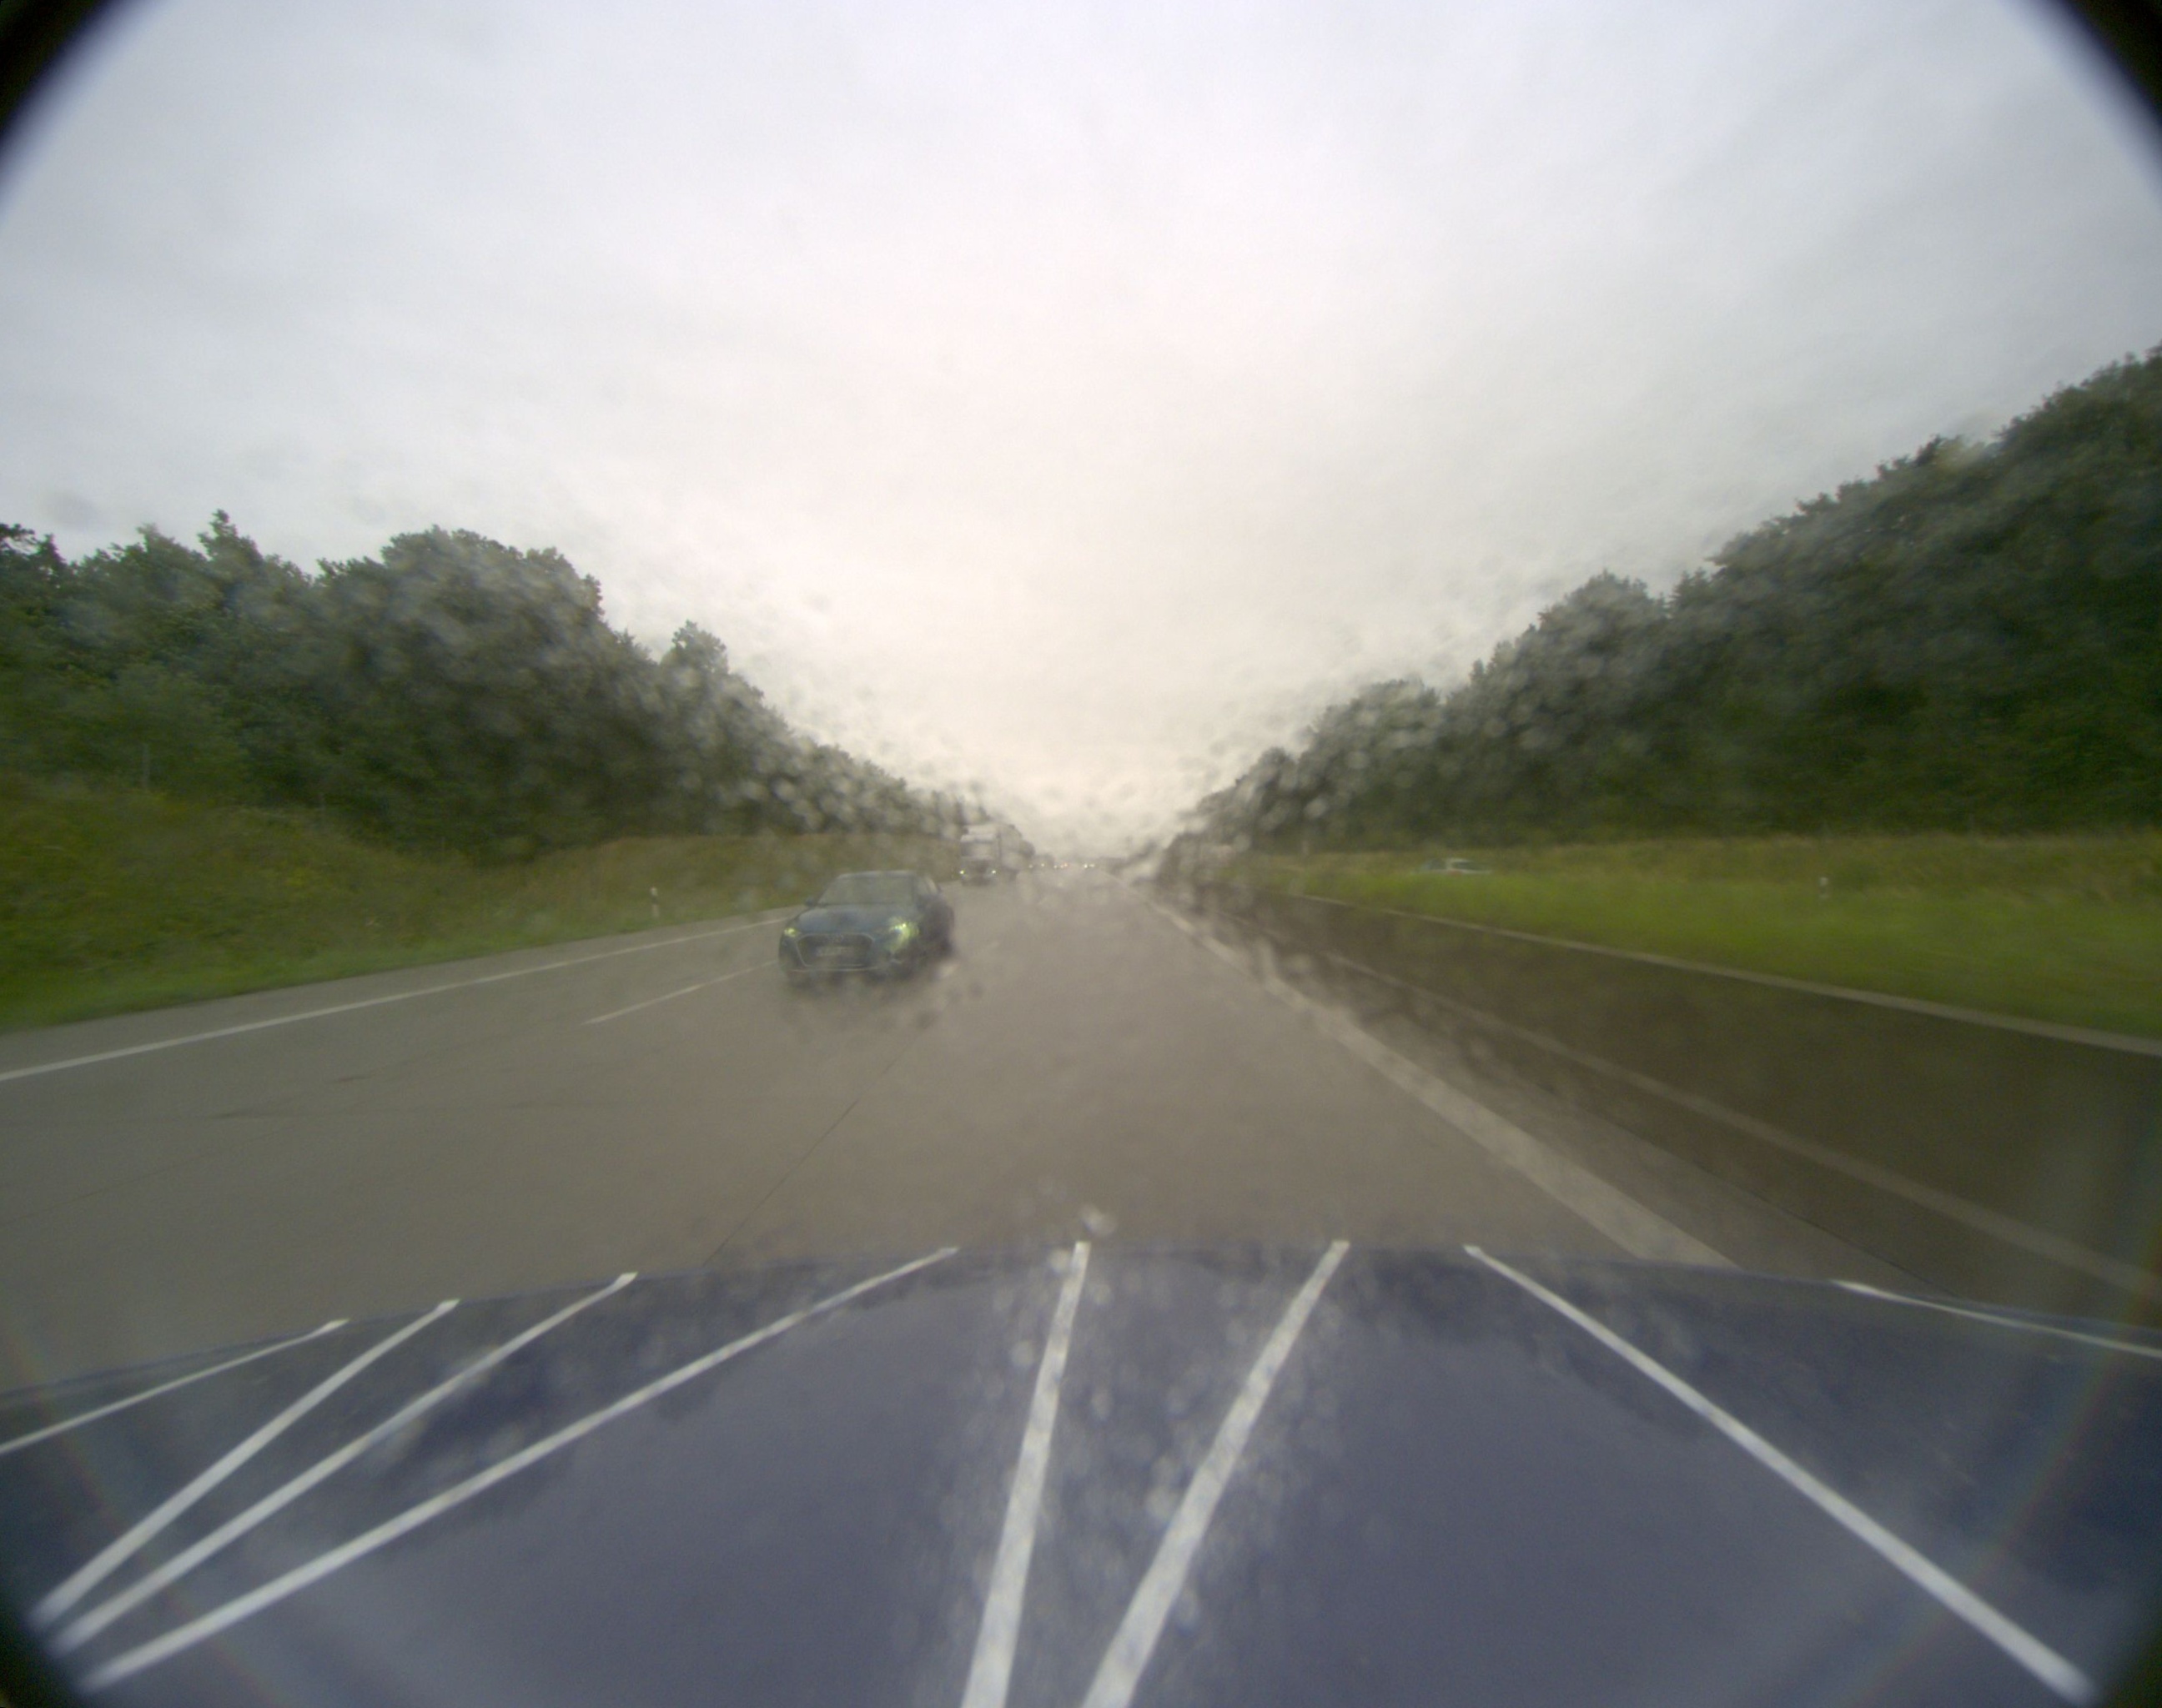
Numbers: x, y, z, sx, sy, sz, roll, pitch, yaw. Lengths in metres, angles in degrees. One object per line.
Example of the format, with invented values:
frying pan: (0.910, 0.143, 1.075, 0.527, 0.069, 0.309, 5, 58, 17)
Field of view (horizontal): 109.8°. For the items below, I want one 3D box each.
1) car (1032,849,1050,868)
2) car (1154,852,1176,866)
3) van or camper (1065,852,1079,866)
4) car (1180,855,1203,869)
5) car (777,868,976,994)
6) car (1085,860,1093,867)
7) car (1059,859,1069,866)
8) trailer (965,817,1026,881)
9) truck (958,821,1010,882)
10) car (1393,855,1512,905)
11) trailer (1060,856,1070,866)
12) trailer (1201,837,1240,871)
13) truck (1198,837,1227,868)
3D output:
car: (-5.960, 0.694, 112.899, 1.945, 2.642, 6.588, -3, -1, 2)
car: (9.629, 0.514, 87.123, 1.998, 1.534, 4.559, -1, 0, 0)
van or camper: (-1.742, 1.034, 152.791, 2.233, 2.537, 7.951, -4, 0, 2)
car: (12.946, 0.901, 89.290, 1.998, 1.534, 4.560, -1, 0, 0)
car: (-2.898, 1.012, 11.884, 1.733, 1.450, 4.672, -1, 0, 1)
car: (1.722, 1.955, 159.276, 1.733, 1.450, 4.672, -1, 0, 1)
car: (-4.198, 2.030, 186.488, 1.998, 1.575, 5.955, -3, -1, 2)
trailer: (-6.501, -0.291, 60.780, 2.713, 4.353, 15.206, -3, -1, 1)
truck: (-6.684, -0.152, 53.094, 2.643, 3.930, 5.687, -3, 0, 2)
car: (12.618, 0.809, 26.182, 1.816, 1.534, 4.639, -1, 0, 0)
trailer: (-4.034, 1.770, 192.472, 2.348, 2.444, 5.941, -1, 0, 2)
trailer: (17.106, -0.009, 93.694, 2.671, 3.948, 11.136, -1, 0, 0)
truck: (17.073, -0.147, 98.872, 2.671, 3.852, 6.435, -1, 0, 0)
